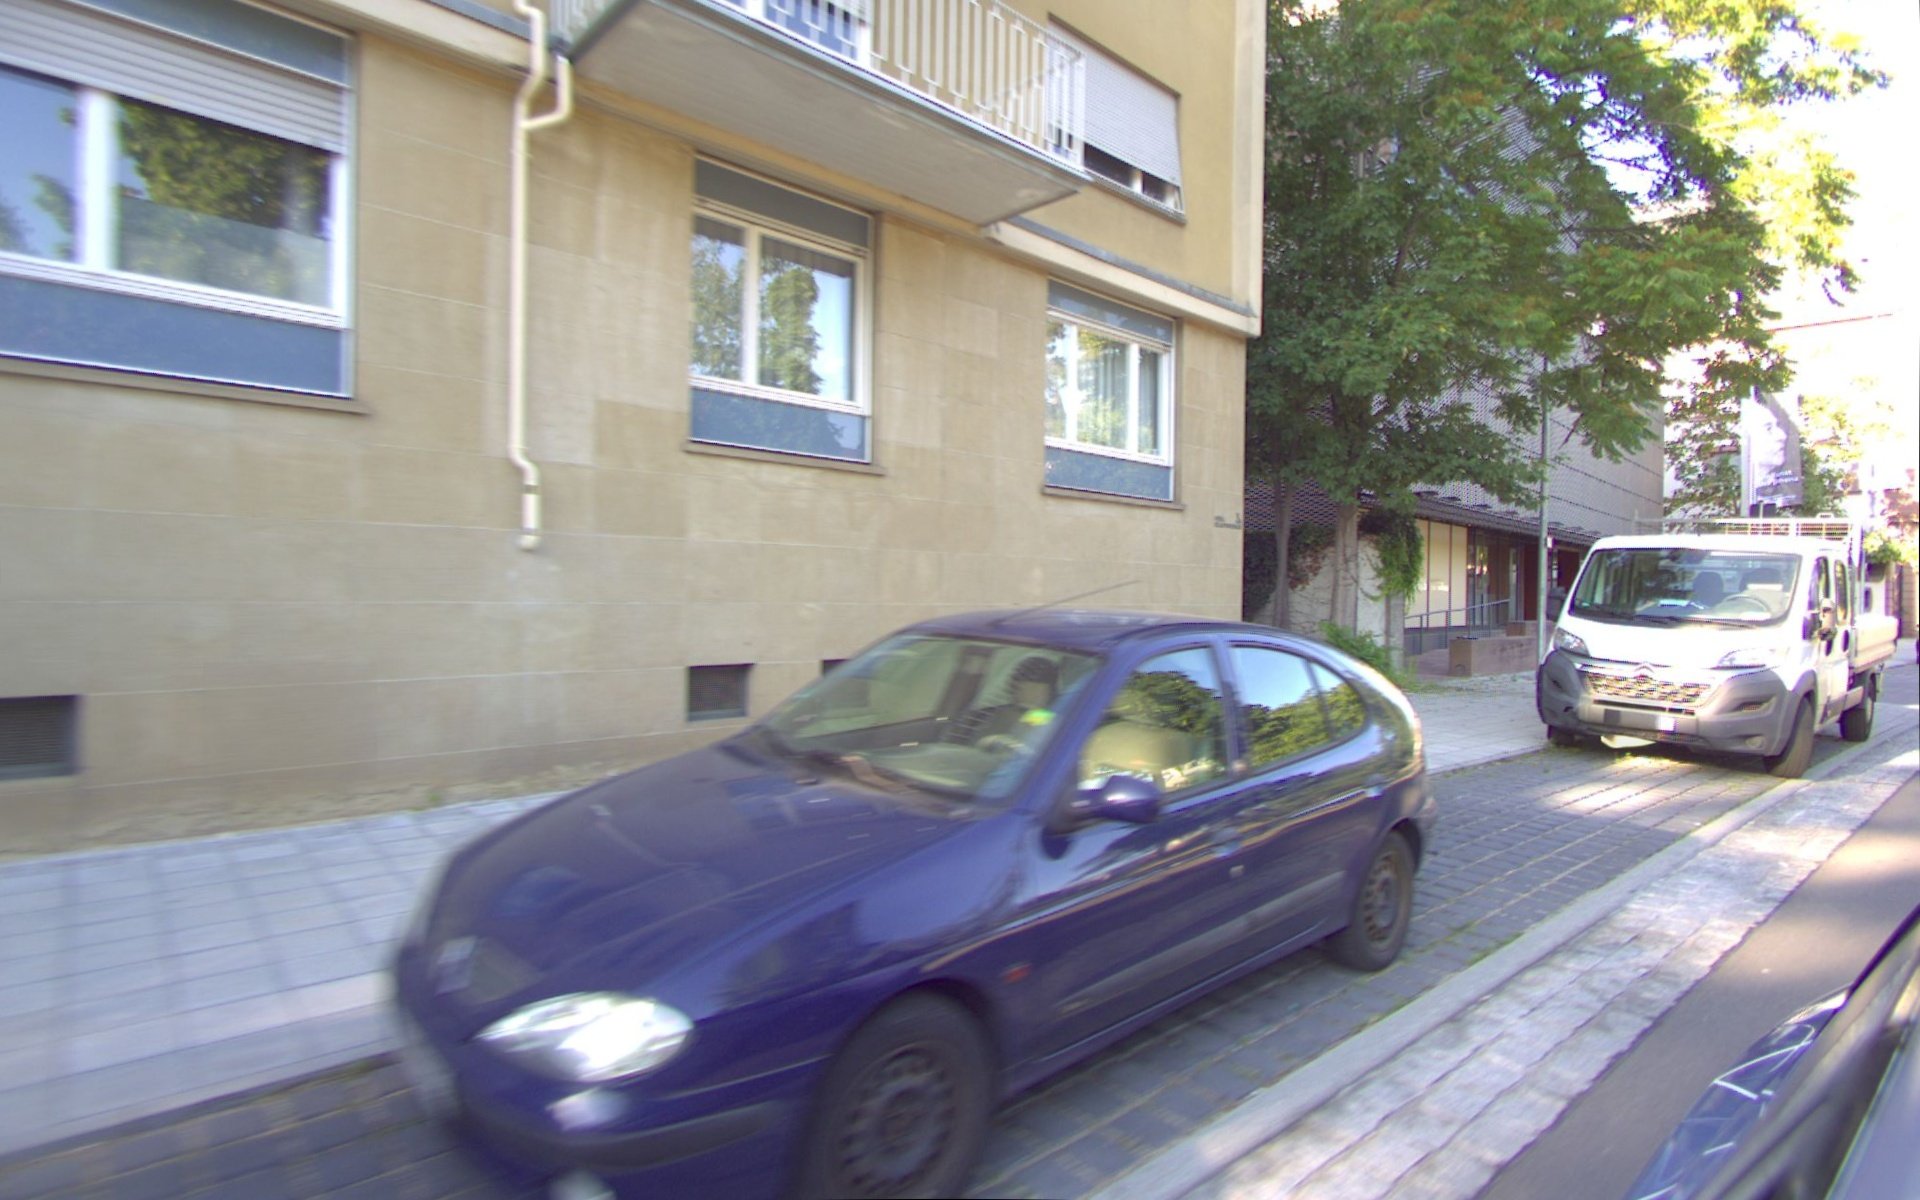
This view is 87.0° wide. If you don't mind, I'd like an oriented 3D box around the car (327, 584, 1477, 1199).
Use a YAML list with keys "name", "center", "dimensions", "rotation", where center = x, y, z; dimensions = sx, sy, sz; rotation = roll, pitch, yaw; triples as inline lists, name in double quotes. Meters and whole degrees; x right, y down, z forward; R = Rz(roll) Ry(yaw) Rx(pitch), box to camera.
- name: "car"
  center: [0.197, 0.703, 3.654]
  dimensions: [3.968, 1.437, 1.705]
  rotation: [-1, 4, -43]

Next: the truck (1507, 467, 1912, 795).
- name: "truck"
  center: [8.470, 0.197, 11.062]
  dimensions: [6.757, 2.596, 2.132]
  rotation: [0, 1, -41]
